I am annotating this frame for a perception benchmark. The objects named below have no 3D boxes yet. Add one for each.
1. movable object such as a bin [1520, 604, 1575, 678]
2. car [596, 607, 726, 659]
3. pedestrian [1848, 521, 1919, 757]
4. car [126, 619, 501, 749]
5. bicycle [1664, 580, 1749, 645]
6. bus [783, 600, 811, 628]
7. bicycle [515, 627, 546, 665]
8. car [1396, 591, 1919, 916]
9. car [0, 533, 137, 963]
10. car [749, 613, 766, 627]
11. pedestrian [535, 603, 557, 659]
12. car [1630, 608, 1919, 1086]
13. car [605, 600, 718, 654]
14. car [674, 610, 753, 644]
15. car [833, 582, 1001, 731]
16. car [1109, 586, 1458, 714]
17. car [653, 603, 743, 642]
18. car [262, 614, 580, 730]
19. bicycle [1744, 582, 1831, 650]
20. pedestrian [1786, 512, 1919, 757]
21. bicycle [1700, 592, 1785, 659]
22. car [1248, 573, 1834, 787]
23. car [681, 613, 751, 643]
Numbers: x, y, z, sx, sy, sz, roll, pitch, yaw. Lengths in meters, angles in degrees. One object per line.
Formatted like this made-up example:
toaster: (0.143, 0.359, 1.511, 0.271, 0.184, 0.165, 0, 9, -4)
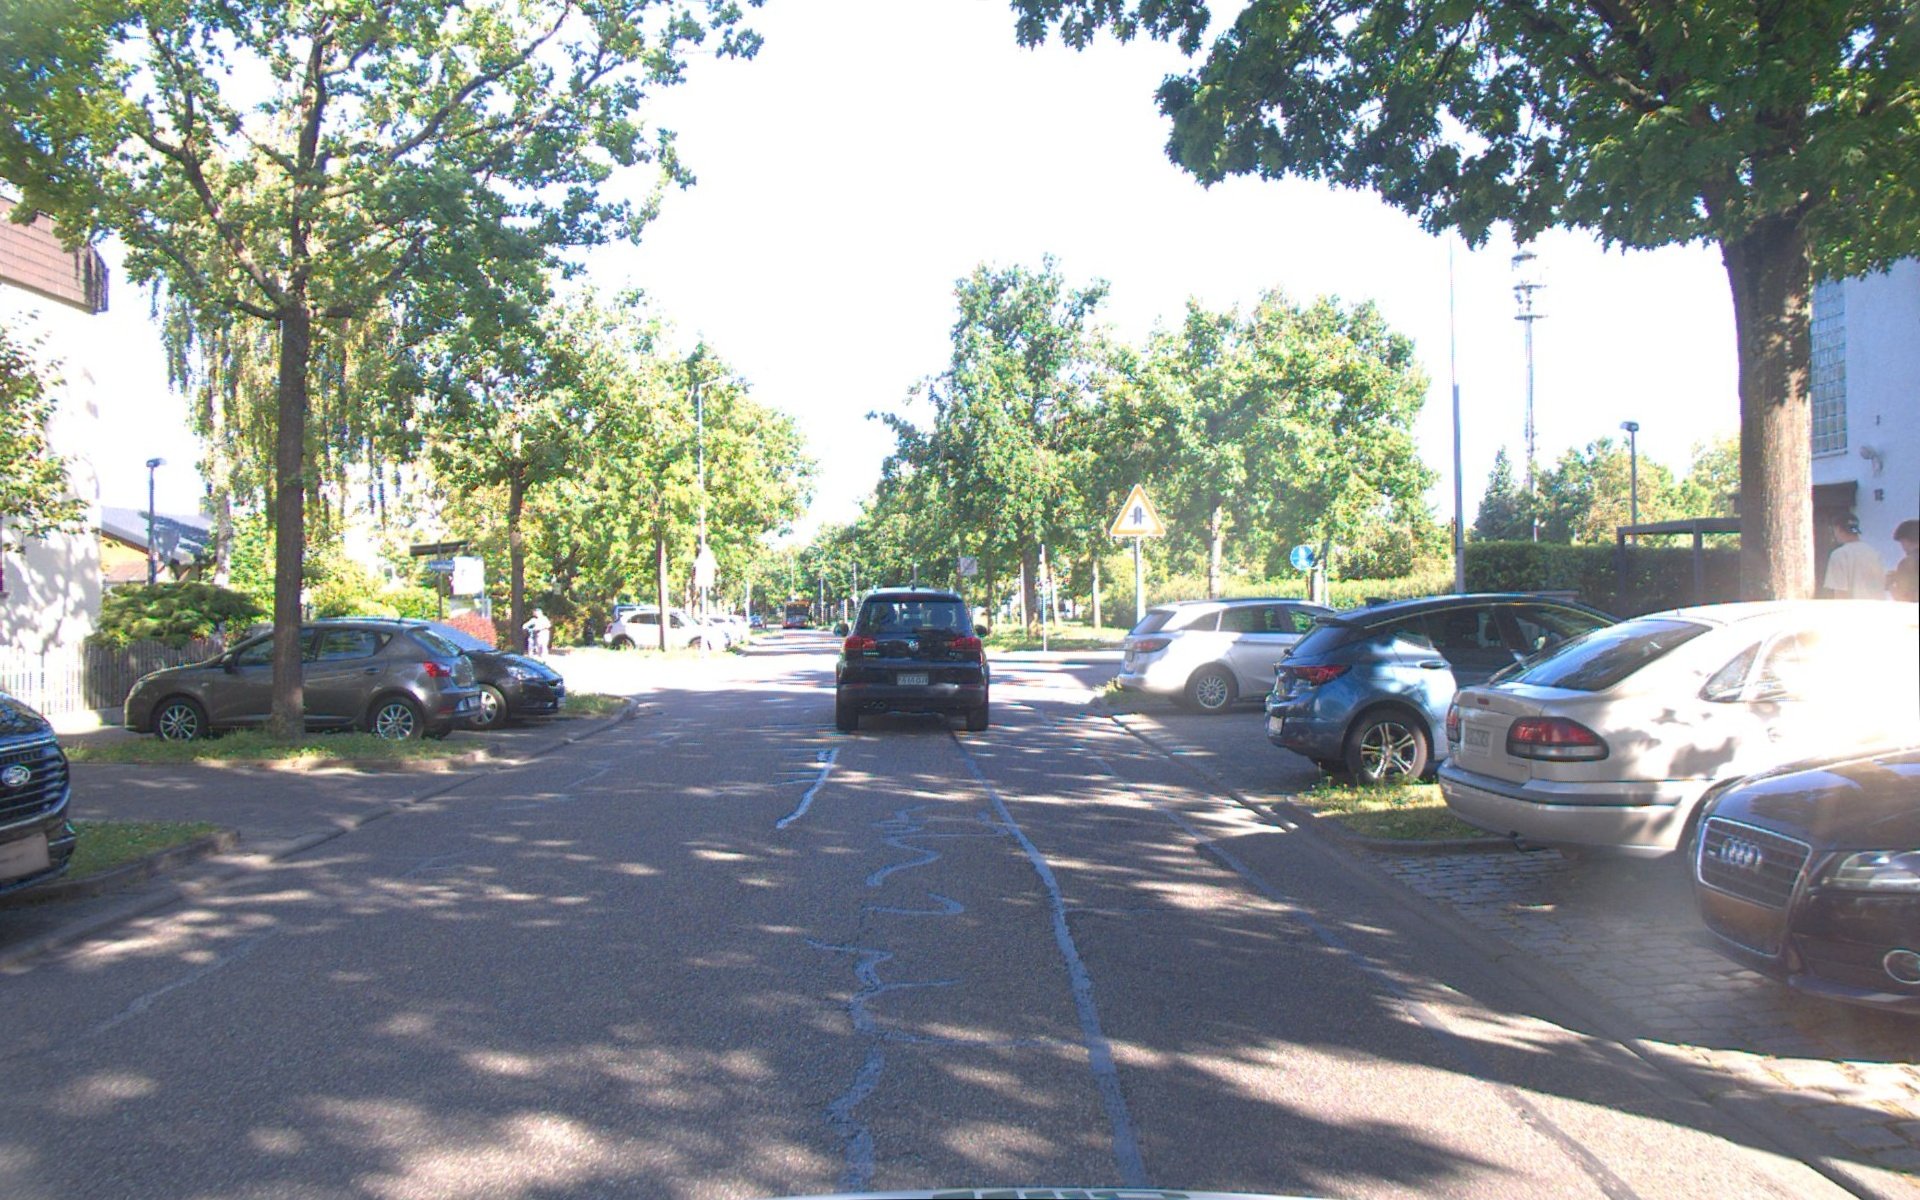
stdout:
movable object such as a bin: (8.698, 0.598, 24.491, 0.523, 1.063, 0.699, -1, 0, -2)
car: (-10.145, 1.113, 56.366, 4.159, 1.651, 1.895, -1, -1, -5)
pedestrian: (7.840, 0.304, 13.440, 0.817, 1.860, 0.710, -1, -1, 1)
car: (-7.552, 0.958, 19.604, 3.742, 1.444, 1.771, 0, 0, -2)
bicycle: (13.002, 0.205, 28.805, 1.653, 1.072, 0.526, -2, 0, -33)
bus: (-18.251, 1.599, 185.527, 2.871, 3.056, 5.731, -1, -1, -4)
bicycle: (-12.313, 1.299, 47.441, 0.438, 1.057, 1.892, -1, -1, -2)
car: (4.645, 0.700, 8.719, 4.189, 1.439, 1.796, -2, 0, 0)
car: (-6.711, 0.678, 7.732, 4.682, 1.950, 2.018, 0, 0, -2)
car: (-24.968, 2.495, 203.898, 1.816, 1.723, 3.952, -1, -1, -4)
pedestrian: (-11.883, 0.889, 47.503, 0.432, 1.584, 0.801, -1, 0, -1)
car: (4.910, 0.685, 5.894, 4.257, 1.386, 1.873, -2, -1, -1)
car: (-11.112, 0.985, 61.732, 3.938, 1.872, 1.895, -2, 0, -5)
car: (-12.964, 1.409, 87.168, 3.937, 1.676, 1.809, -1, -1, -5)
car: (-0.440, 0.645, 20.598, 1.799, 1.665, 3.959, 0, 0, 3)
car: (4.285, 0.649, 22.401, 4.338, 1.517, 1.796, -2, 0, 0)
car: (-12.116, 1.021, 76.692, 3.938, 1.676, 1.809, -2, 0, -5)
car: (-7.282, 0.956, 22.599, 3.778, 1.484, 1.713, 0, 0, 0)
bicycle: (13.849, 0.256, 27.658, 1.653, 1.072, 0.526, -2, 0, -33)
pedestrian: (7.267, 0.275, 13.451, 0.595, 1.906, 0.924, -1, -1, 2)
bicycle: (13.376, 0.431, 28.258, 1.653, 1.072, 0.526, -2, 0, -33)
car: (4.649, 0.615, 13.685, 4.189, 1.529, 1.796, -2, 0, 0)
car: (-14.324, 1.640, 97.391, 3.938, 1.676, 1.809, -1, 0, -5)
